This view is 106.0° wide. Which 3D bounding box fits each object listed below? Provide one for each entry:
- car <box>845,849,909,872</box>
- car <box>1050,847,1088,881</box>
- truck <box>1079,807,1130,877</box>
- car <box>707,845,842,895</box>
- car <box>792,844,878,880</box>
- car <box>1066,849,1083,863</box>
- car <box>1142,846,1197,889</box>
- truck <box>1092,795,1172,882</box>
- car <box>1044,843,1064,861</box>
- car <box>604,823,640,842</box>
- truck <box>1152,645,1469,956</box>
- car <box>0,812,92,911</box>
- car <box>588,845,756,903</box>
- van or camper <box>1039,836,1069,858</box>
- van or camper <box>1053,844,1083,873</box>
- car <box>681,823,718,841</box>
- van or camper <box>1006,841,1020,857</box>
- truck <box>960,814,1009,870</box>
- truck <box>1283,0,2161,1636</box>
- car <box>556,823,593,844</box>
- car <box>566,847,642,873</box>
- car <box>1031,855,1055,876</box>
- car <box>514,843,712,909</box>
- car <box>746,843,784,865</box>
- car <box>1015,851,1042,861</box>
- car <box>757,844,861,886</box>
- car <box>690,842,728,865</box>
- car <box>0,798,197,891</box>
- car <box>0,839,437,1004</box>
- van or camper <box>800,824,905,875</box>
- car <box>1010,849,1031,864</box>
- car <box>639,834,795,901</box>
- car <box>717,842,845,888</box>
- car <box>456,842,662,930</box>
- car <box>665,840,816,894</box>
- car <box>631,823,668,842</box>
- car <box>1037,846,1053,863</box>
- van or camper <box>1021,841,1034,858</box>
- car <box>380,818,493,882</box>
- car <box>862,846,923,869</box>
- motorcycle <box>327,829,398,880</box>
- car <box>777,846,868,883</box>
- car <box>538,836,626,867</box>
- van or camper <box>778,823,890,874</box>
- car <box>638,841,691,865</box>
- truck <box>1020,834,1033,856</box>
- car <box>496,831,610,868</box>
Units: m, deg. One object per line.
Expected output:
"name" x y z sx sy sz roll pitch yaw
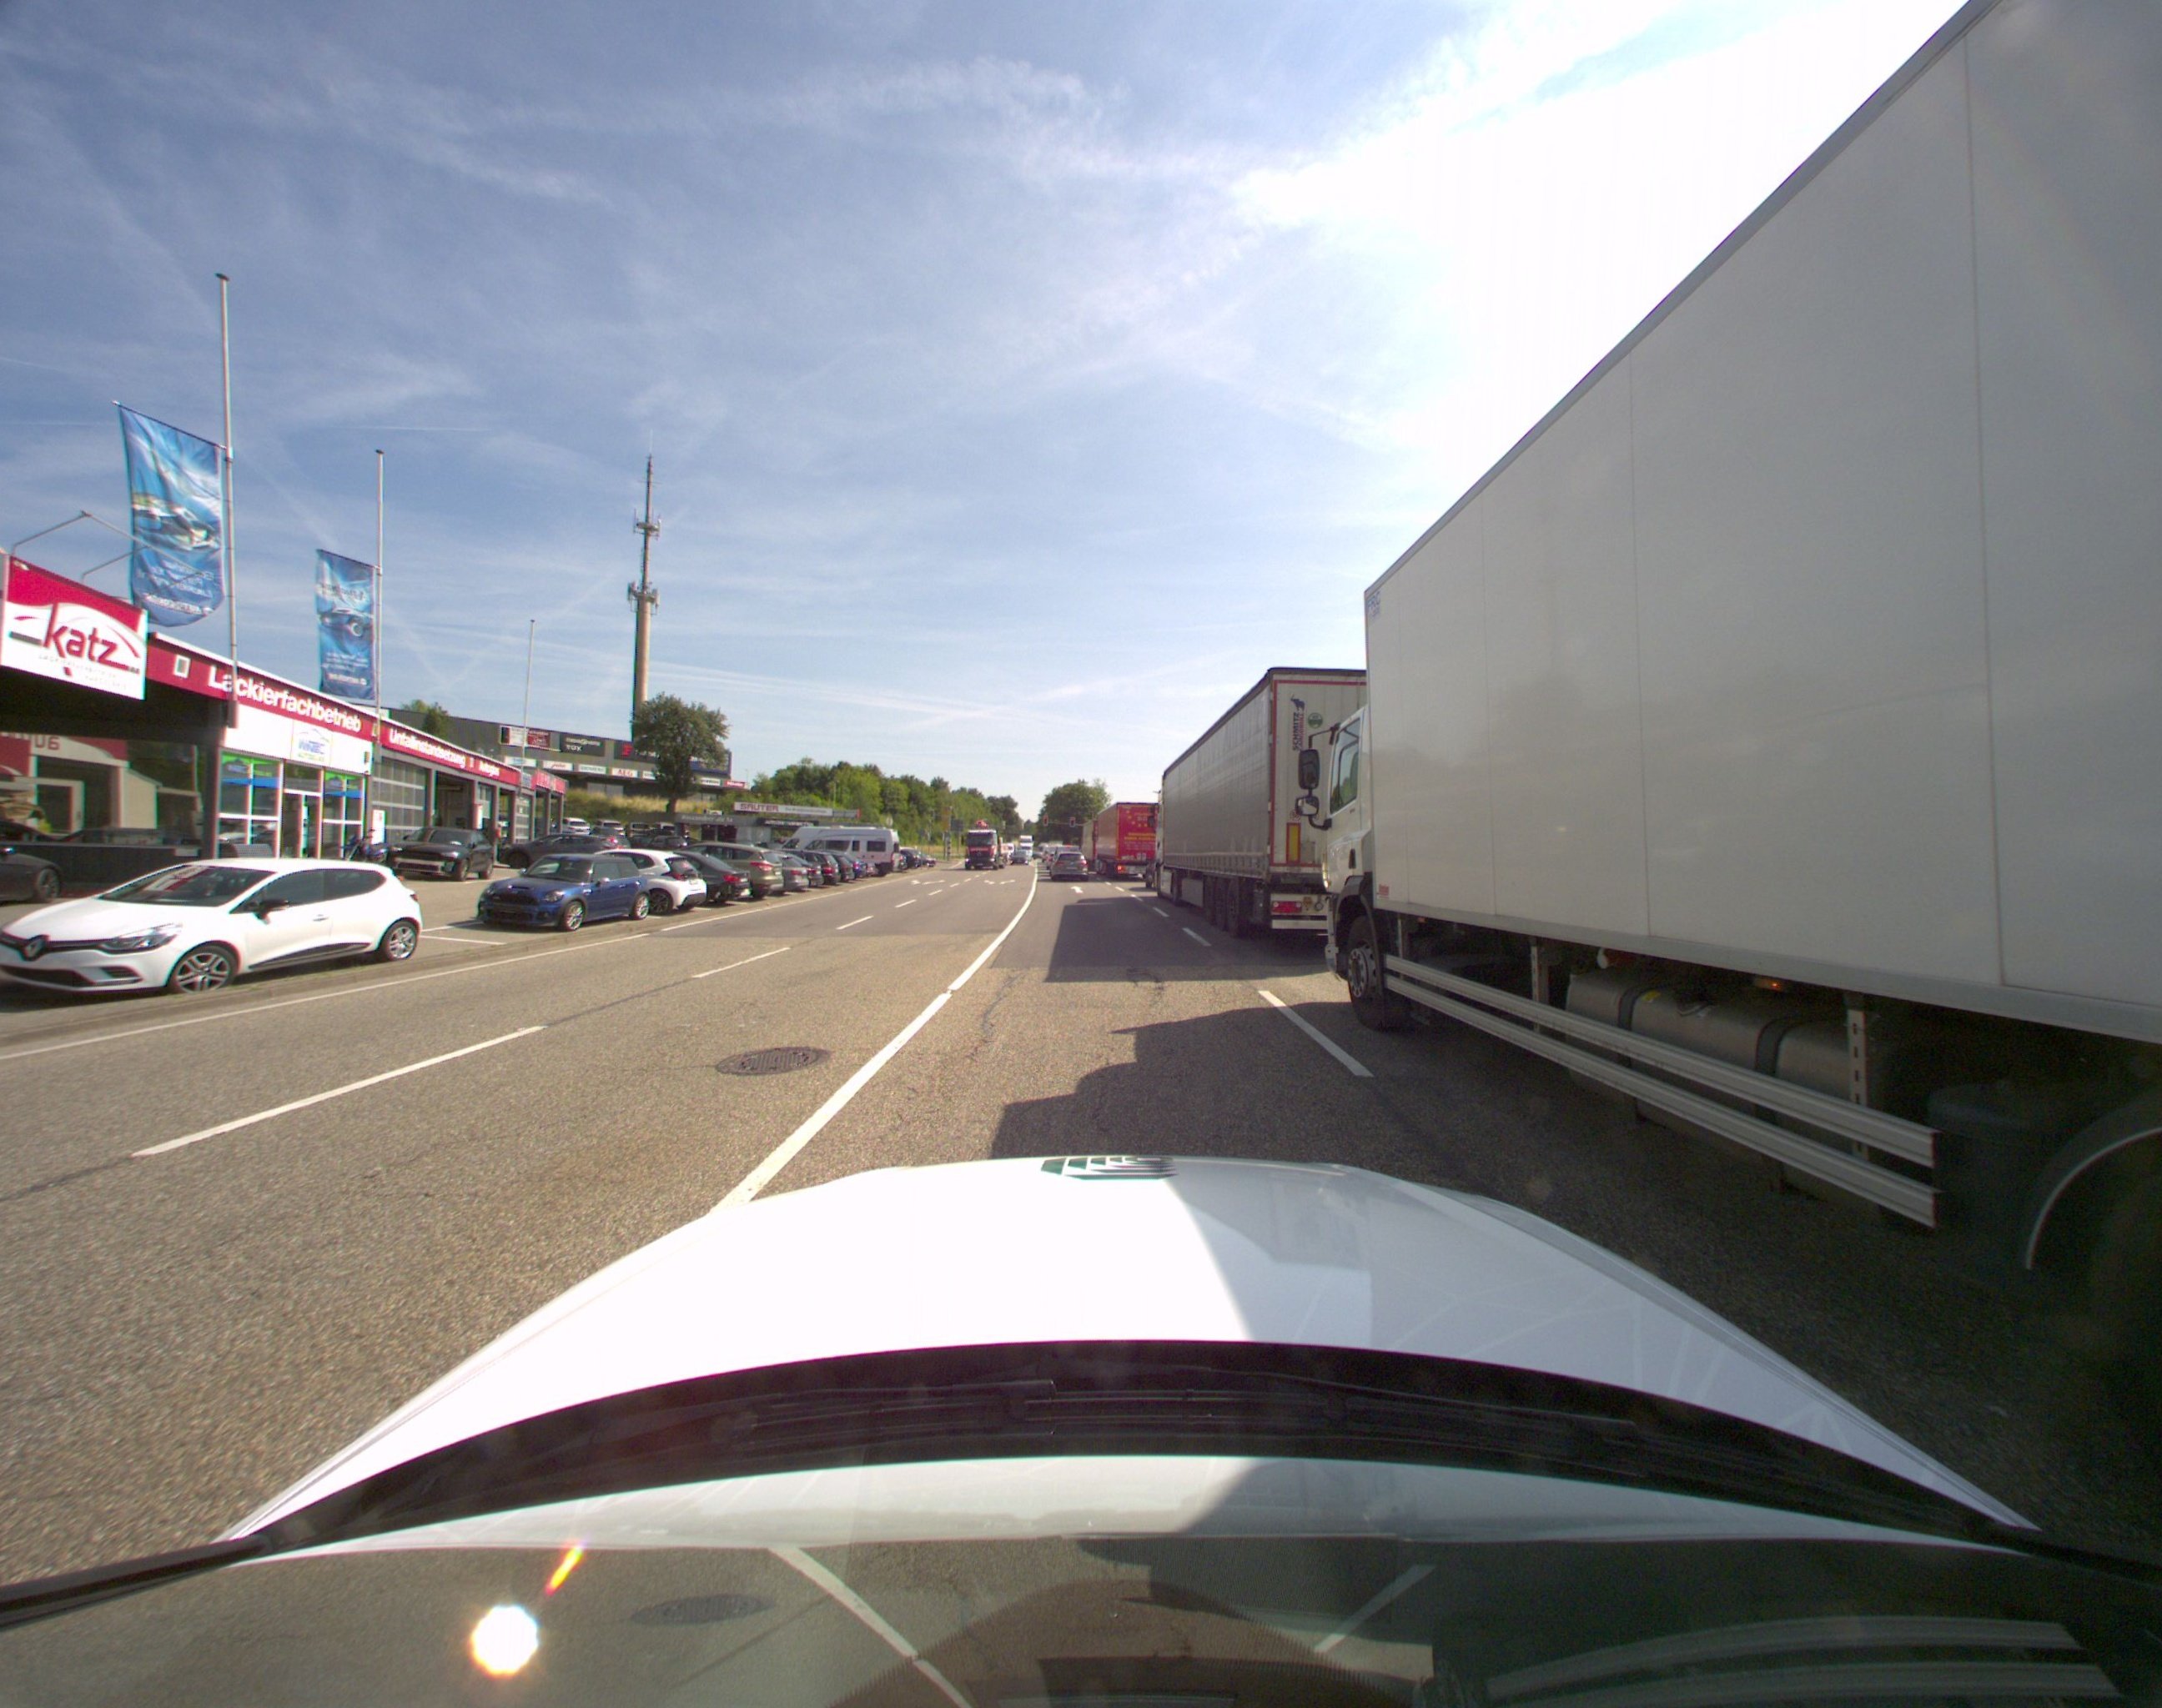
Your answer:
"car" -13.268 0.390 53.137 3.809 1.448 1.840 0 0 -4
"car" -0.556 0.471 40.536 1.784 1.638 3.504 0 0 0
"truck" 1.750 -0.940 69.516 3.055 5.220 16.990 1 0 -3
"car" -11.388 0.589 30.531 4.290 1.484 1.796 4 0 -5
"car" -12.174 0.404 40.487 3.701 1.484 1.705 4 0 -5
"car" -0.780 0.279 94.065 1.723 1.519 3.308 2 -1 -3
"car" 3.614 0.512 33.753 1.813 1.685 3.999 0 0 -1
"truck" 2.680 -0.821 48.899 2.950 4.269 16.567 1 0 -3
"car" -2.448 -0.159 73.073 1.722 1.519 3.310 1 -1 -2
"car" -38.059 -1.769 67.500 1.746 1.450 3.703 2 -1 -44
"truck" 3.904 -0.759 19.605 2.881 4.266 16.706 1 0 0
"car" -18.073 0.118 12.512 1.862 1.504 4.362 3 1 -25
"car" -11.210 0.521 22.531 3.701 1.525 1.789 0 0 -5
"van or camper" -4.200 -1.070 126.364 2.188 3.056 5.934 3 -1 24
"van or camper" -0.890 0.278 54.934 1.848 1.905 3.780 1 0 -3
"car" -32.677 -1.868 69.697 1.746 1.450 3.703 2 -1 -44
"van or camper" -11.397 -0.802 135.856 2.168 2.551 4.166 1 0 -3
"truck" -7.780 -0.919 67.172 2.948 4.209 10.641 -1 0 -1
"truck" 3.521 -0.415 3.121 2.869 3.811 11.143 1 0 1
"car" -40.607 -1.613 65.304 1.746 1.537 3.703 2 -1 -44
"car" -30.173 0.346 51.559 3.798 1.588 1.772 0 0 5
"car" -2.971 0.900 64.389 1.722 1.519 3.310 1 -1 -1
"car" -11.452 0.521 20.153 3.789 1.525 1.844 0 0 -5
"car" -23.564 -0.040 60.640 1.777 1.588 3.787 0 0 -36
"car" -7.820 0.336 121.359 1.695 1.448 4.107 0 0 38
"car" -11.738 0.475 35.379 3.837 1.484 1.799 4 0 -5
"car" -26.412 -0.069 57.794 1.777 1.588 3.787 0 0 -36
"car" -21.538 -0.207 17.793 1.708 1.759 3.728 4 -1 -27
"car" -10.452 0.664 10.070 1.774 1.618 3.999 1 0 0
"van or camper" -12.813 -0.249 45.959 5.231 2.731 2.209 1 0 -2
"car" -6.193 0.229 83.340 1.800 1.560 4.387 0 0 0
"car" -11.196 0.403 25.267 3.879 1.716 1.804 4 0 -5
"car" -12.125 0.441 33.154 4.451 1.484 1.769 4 0 -5
"car" -10.696 0.604 17.064 1.774 1.494 3.780 5 0 -1
"car" -11.526 0.425 27.794 4.269 1.484 1.833 4 0 -5
"car" -36.430 -1.807 68.713 1.746 1.450 3.703 2 -1 -44
"car" -4.207 0.034 95.384 1.721 1.909 3.312 1 -1 0
"van or camper" -9.635 -0.777 146.991 2.219 2.841 5.704 1 -1 -3
"car" -20.045 -0.072 25.530 1.831 1.675 4.090 7 -4 -27
"car" -12.956 0.257 56.018 3.809 1.539 1.840 0 0 -4
"motorcycle" -18.809 0.009 21.365 0.773 1.261 2.039 0 0 -23
"car" -11.982 0.472 37.938 3.701 1.555 1.705 2 1 -5
"car" -26.726 -0.136 43.789 3.836 1.588 1.754 0 0 -26
"van or camper" -14.564 -0.317 48.291 5.878 2.873 2.287 1 1 -3
"car" -28.914 -0.097 56.526 3.780 1.588 1.780 0 0 37
"truck" -10.757 -1.801 161.257 2.547 4.307 7.588 0 0 -3
"car" -23.008 -0.176 35.657 3.958 1.532 1.754 0 0 -26
